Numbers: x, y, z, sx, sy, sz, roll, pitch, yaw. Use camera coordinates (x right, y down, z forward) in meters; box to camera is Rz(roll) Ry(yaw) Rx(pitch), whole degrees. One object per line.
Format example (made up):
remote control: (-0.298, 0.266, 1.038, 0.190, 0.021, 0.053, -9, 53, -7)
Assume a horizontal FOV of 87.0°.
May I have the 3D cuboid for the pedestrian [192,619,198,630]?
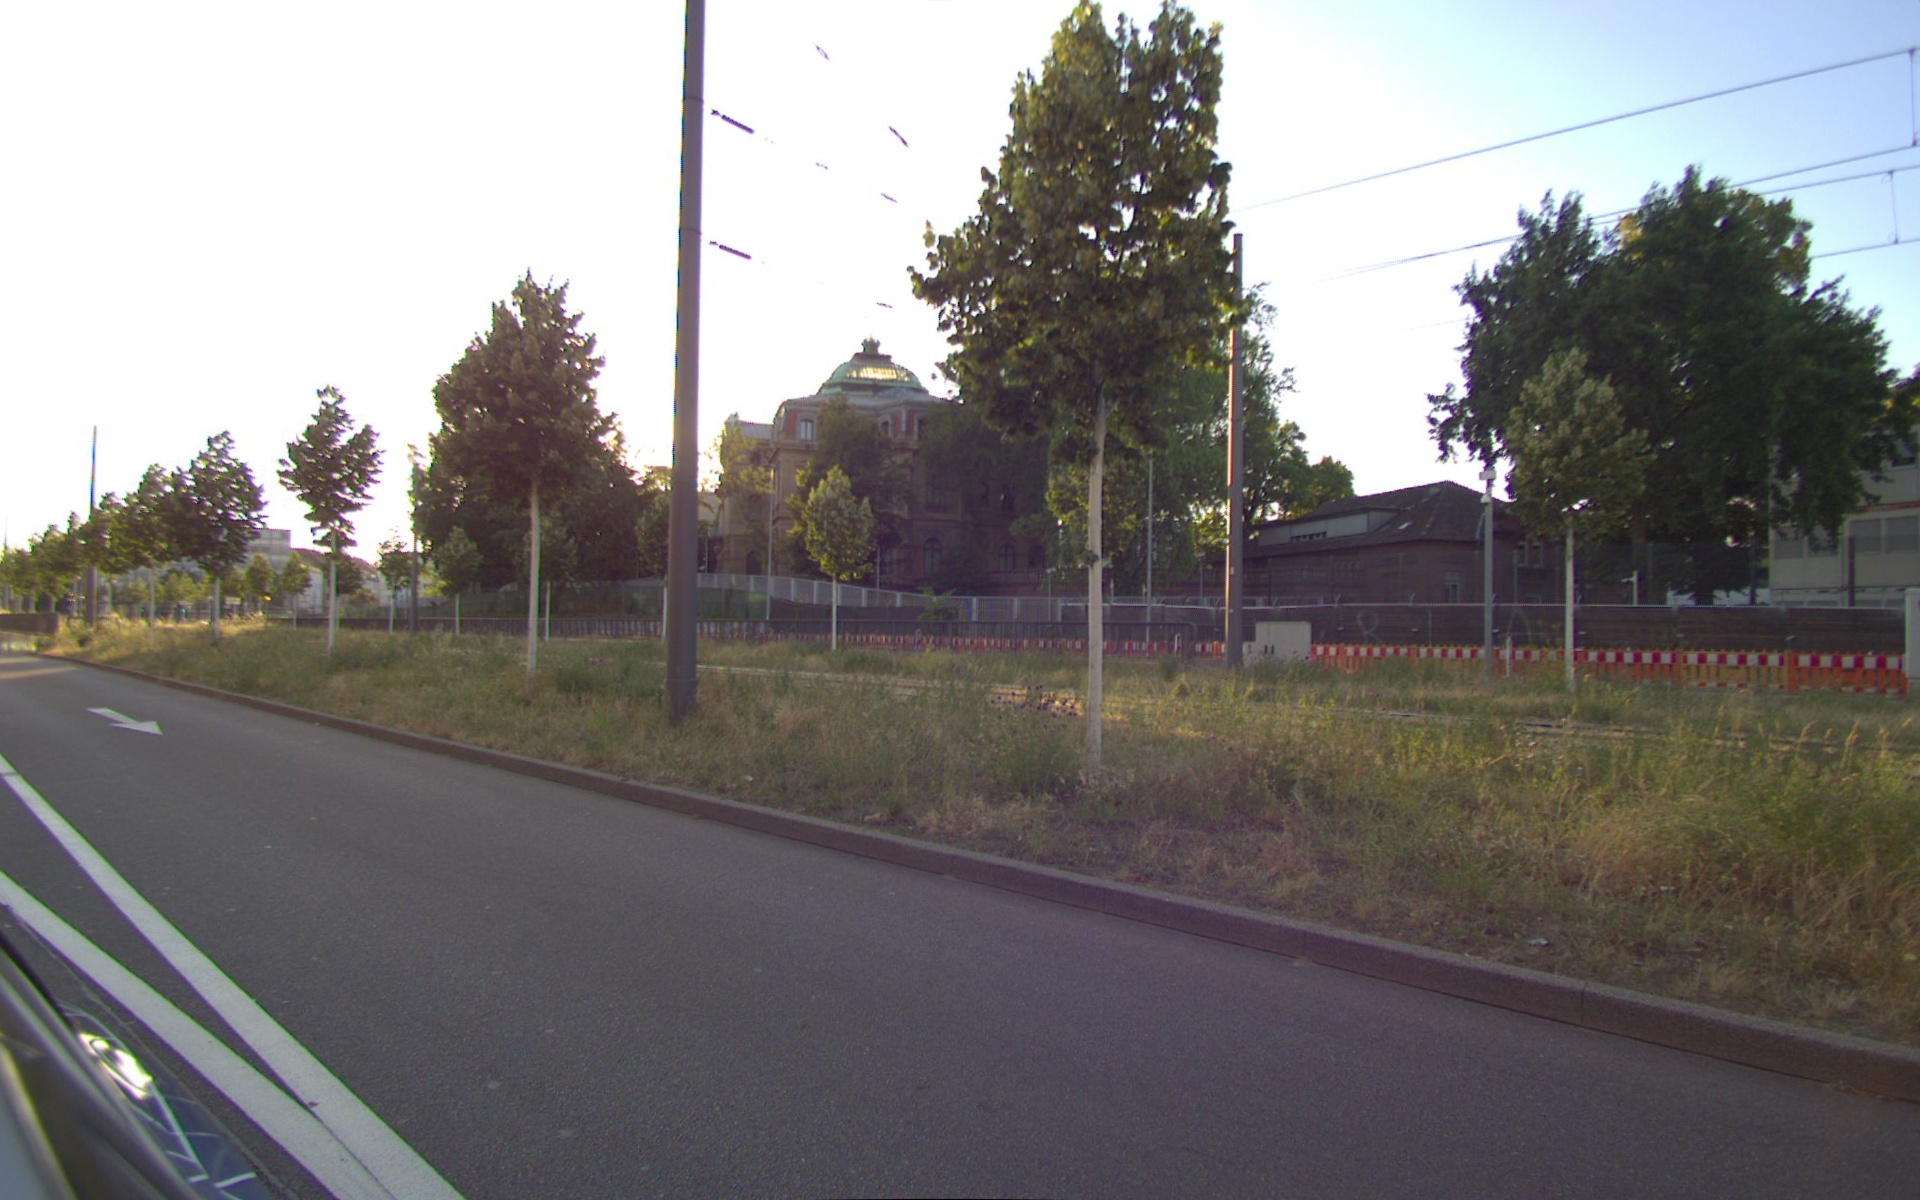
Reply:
pedestrian: (-117.533, 3.803, 155.406, 0.637, 1.725, 0.839, 2, -2, -40)
